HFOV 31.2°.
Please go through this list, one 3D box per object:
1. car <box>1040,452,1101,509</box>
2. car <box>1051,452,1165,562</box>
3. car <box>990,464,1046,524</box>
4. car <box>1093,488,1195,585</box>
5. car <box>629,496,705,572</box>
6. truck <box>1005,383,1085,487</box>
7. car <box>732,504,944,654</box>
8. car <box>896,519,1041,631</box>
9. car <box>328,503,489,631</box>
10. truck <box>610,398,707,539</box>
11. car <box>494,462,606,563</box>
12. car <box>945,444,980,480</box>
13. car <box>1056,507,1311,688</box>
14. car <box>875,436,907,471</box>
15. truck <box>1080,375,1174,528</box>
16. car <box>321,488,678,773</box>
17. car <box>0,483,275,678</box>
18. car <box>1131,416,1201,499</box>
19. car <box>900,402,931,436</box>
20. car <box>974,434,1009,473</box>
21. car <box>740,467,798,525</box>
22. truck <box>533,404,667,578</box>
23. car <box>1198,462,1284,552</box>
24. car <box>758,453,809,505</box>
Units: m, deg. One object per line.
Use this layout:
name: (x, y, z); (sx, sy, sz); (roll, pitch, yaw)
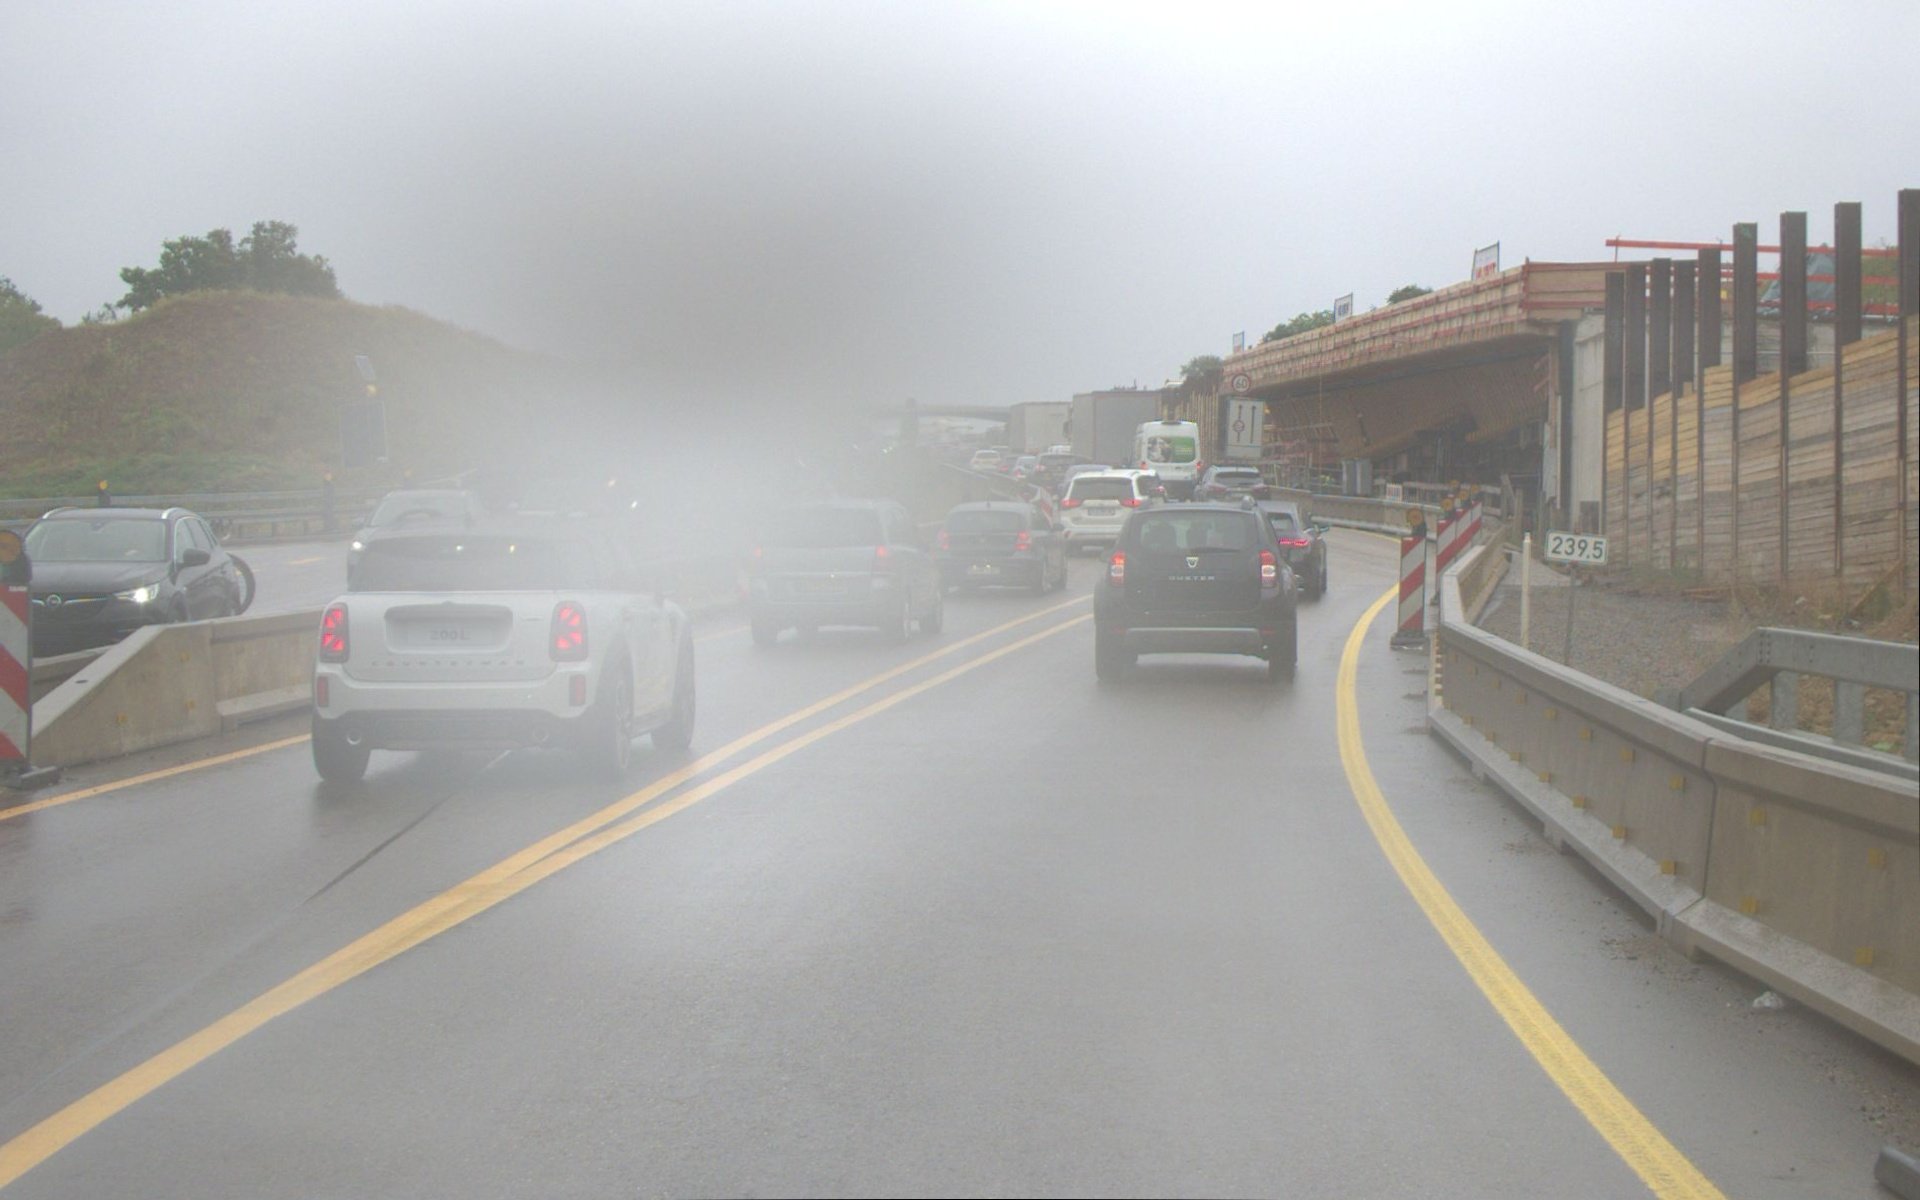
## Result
car: (3.846, -4.164, 120.059); (1.993, 1.755, 3.814); (0, -1, -1)
car: (2.936, -1.826, 68.884); (1.993, 2.007, 3.893); (0, -1, -2)
car: (2.287, -4.150, 135.445); (1.994, 2.155, 4.139); (0, -1, 4)
car: (4.409, -1.483, 81.963); (1.994, 2.155, 4.138); (0, -1, 9)
car: (-7.414, -1.655, 87.261); (1.623, 1.804, 3.637); (0, -1, 0)
truck: (4.780, -9.345, 196.355); (3.803, 5.026, 12.921); (0, -1, -2)
car: (-1.331, -0.197, 39.339); (1.994, 1.595, 4.139); (0, -1, 4)
car: (0.085, -0.347, 52.321); (1.993, 1.595, 4.140); (0, -1, -3)
car: (-8.311, -0.460, 52.129); (1.785, 1.804, 4.499); (0, -1, -1)
truck: (-12.044, -5.177, 138.114); (3.141, 5.399, 8.523); (1, 1, 0)
car: (-8.134, -1.718, 68.552); (1.785, 1.804, 4.499); (0, -1, -1)
car: (0.150, -8.297, 207.450); (1.993, 2.007, 4.000); (-1, 0, -1)
car: (2.029, 0.020, 32.352); (2.081, 1.595, 4.140); (0, -1, -1)
car: (-4.407, -9.310, 218.923); (1.993, 2.007, 4.000); (0, -1, -2)
truck: (6.625, -5.718, 135.078); (3.102, 5.408, 9.440); (0, -1, 6)
car: (-2.760, 0.196, 21.456); (1.816, 1.595, 4.308); (0, -1, -2)
car: (-7.891, -0.220, 32.678); (1.737, 1.679, 5.552); (1, 1, -1)
car: (6.864, -4.731, 115.034); (1.993, 2.476, 4.981); (0, -1, -1)
car: (-3.035, -12.238, 233.033); (1.993, 2.007, 4.000); (0, -1, -2)
car: (1.731, -8.001, 187.793); (1.849, 1.887, 4.021); (0, -1, 0)
car: (-8.173, -4.440, 147.713); (2.238, 2.351, 4.877); (1, 1, 0)
truck: (-10.574, -3.150, 101.863); (3.083, 4.903, 8.564); (1, 1, 0)
car: (7.386, -2.430, 90.682); (1.993, 2.155, 4.140); (0, -1, 1)
car: (-8.366, -5.731, 163.150); (2.217, 2.362, 4.664); (1, 1, 0)
